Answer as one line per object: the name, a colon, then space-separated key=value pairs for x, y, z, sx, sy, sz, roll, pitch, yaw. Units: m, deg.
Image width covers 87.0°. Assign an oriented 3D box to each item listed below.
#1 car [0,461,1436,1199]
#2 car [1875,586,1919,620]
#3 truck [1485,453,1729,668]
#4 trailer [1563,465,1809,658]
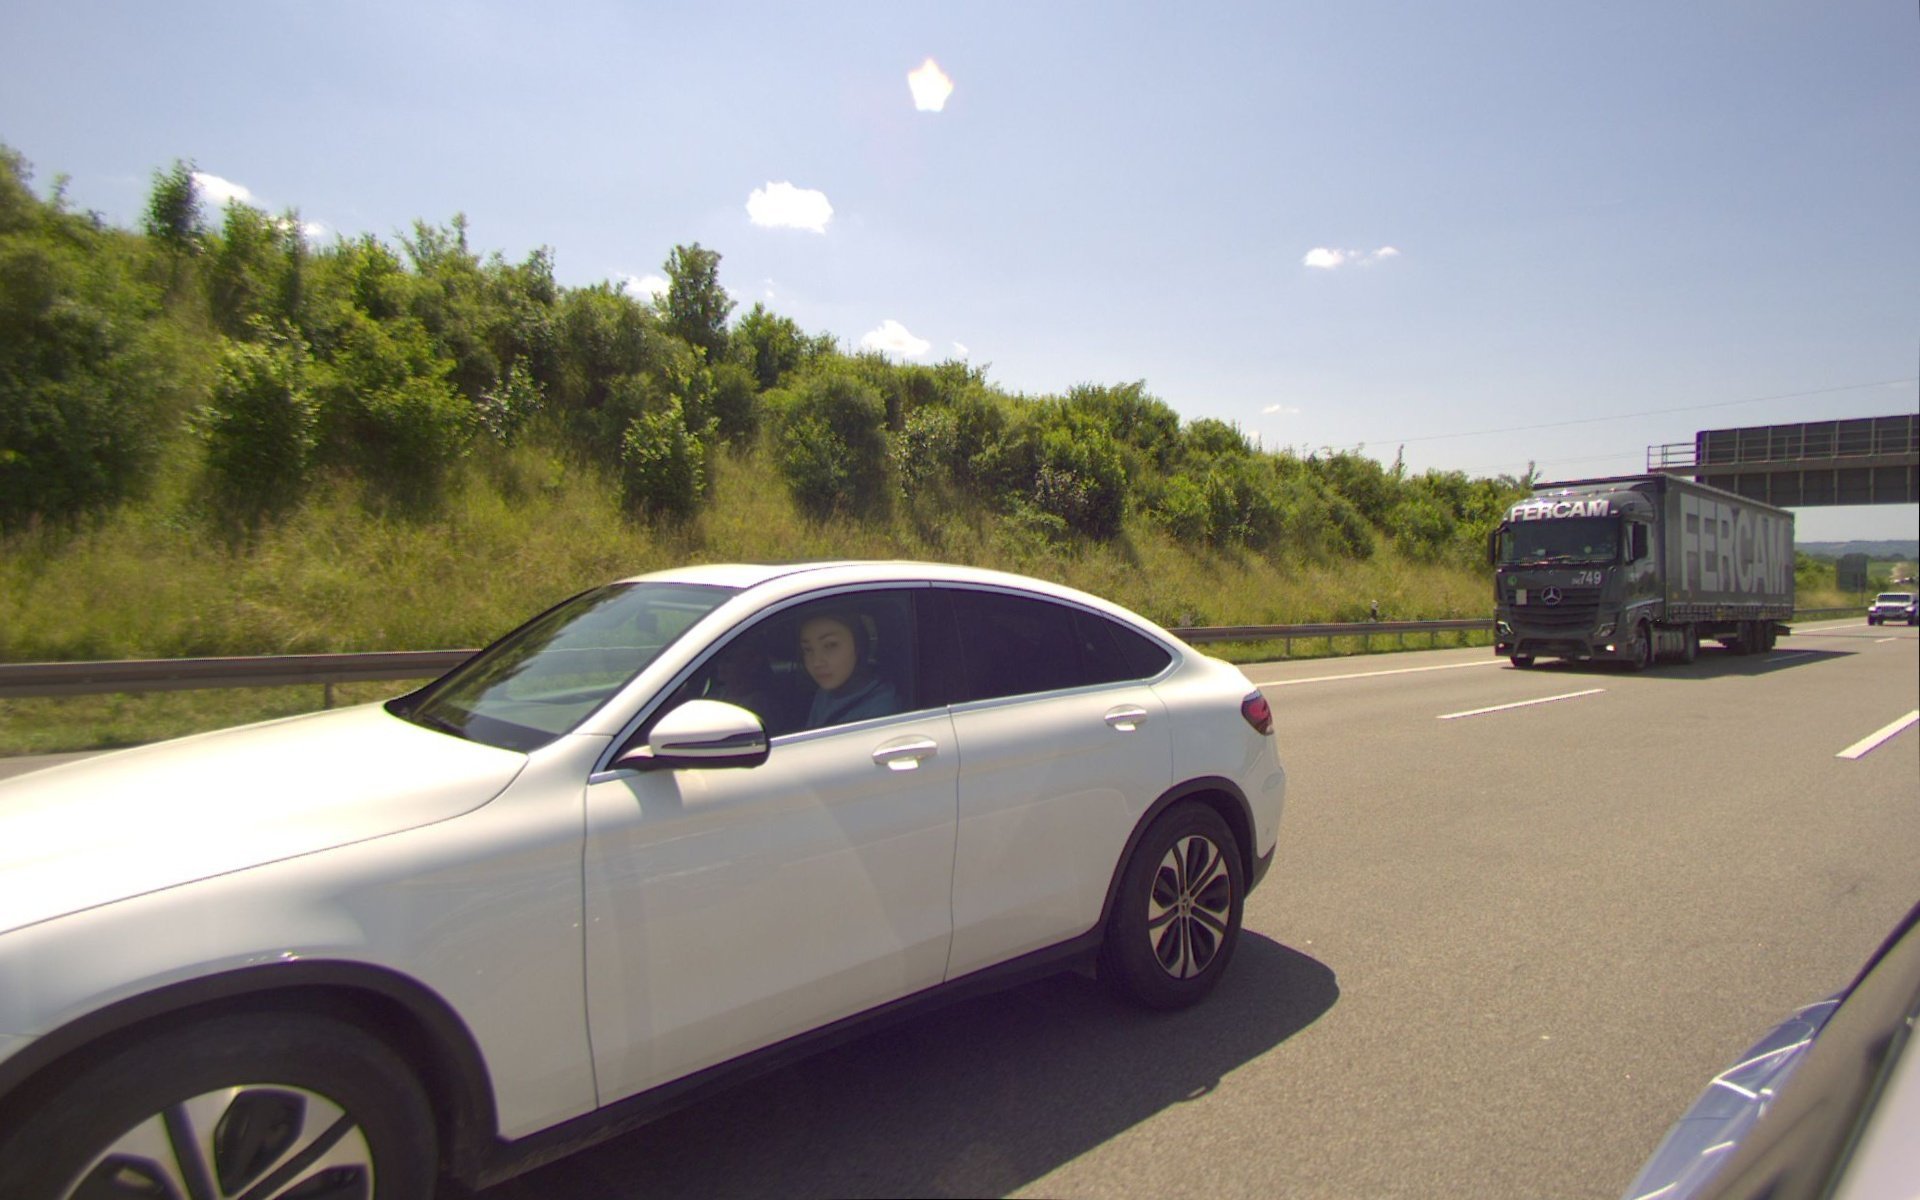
car: x=-0.310 y=0.563 z=3.809 sx=5.140 sy=1.600 sz=1.917 roll=-1 pitch=0 yaw=-41
car: x=53.041 y=0.141 z=56.832 sx=4.177 sy=1.827 sz=2.037 roll=0 pitch=0 yaw=-42
truck: x=14.472 y=-0.784 z=22.434 sx=6.670 sy=4.071 sz=2.757 roll=-1 pitch=0 yaw=-41
trailer: x=19.692 y=-0.912 z=26.982 sx=11.602 sy=4.207 sz=2.730 roll=-1 pitch=1 yaw=-41
